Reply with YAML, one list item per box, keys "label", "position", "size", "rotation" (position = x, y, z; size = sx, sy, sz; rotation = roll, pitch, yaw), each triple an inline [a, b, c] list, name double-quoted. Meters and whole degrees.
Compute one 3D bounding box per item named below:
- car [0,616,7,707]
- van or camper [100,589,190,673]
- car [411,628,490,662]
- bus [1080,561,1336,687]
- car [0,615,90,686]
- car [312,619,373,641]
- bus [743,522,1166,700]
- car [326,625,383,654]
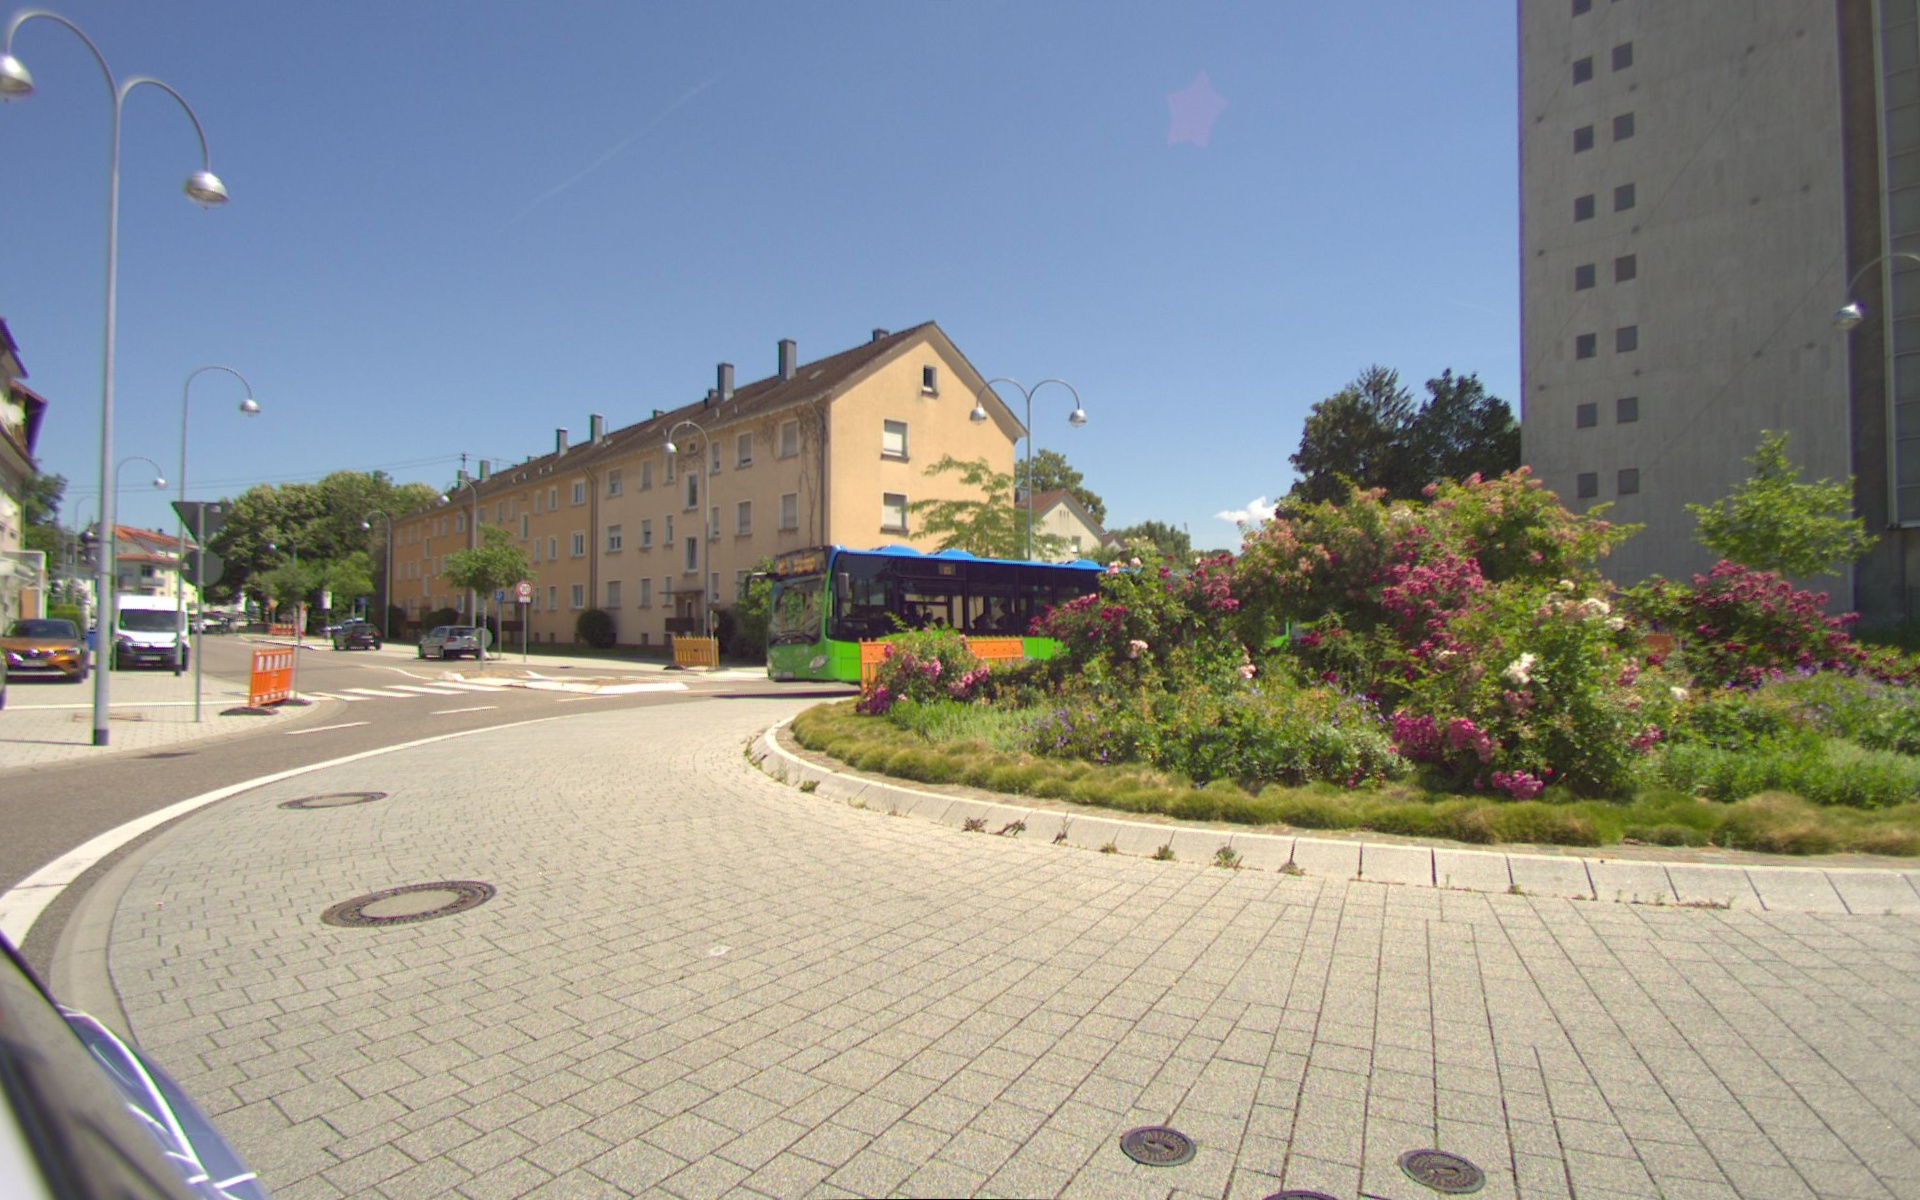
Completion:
- label: "car"
  position: [-16.113, 1.028, 15.586]
  size: [1.742, 1.541, 4.698]
  rotation: [1, -1, -39]
- label: "van or camper"
  position: [-27.873, 1.070, 34.548]
  size: [2.138, 2.608, 5.775]
  rotation: [3, -3, -40]
- label: "car"
  position: [-22.959, 1.994, 45.555]
  size: [4.089, 1.431, 1.971]
  rotation: [-2, -2, 44]
- label: "bus"
  position: [7.434, 0.626, 29.314]
  size: [8.789, 3.134, 2.833]
  rotation: [-1, -3, -44]
- label: "car"
  position: [-23.187, 1.252, 25.548]
  size: [1.651, 1.632, 4.371]
  rotation: [4, -4, -39]
- label: "car"
  position: [-55.045, 2.650, 90.270]
  size: [1.816, 1.888, 4.382]
  rotation: [-1, 0, 38]
- label: "bus"
  position: [0.265, 0.357, 23.201]
  size: [9.922, 3.350, 2.969]
  rotation: [1, -4, -39]
- label: "car"
  position: [-34.437, 2.210, 57.476]
  size: [1.835, 1.518, 4.566]
  rotation: [-1, -1, -43]
